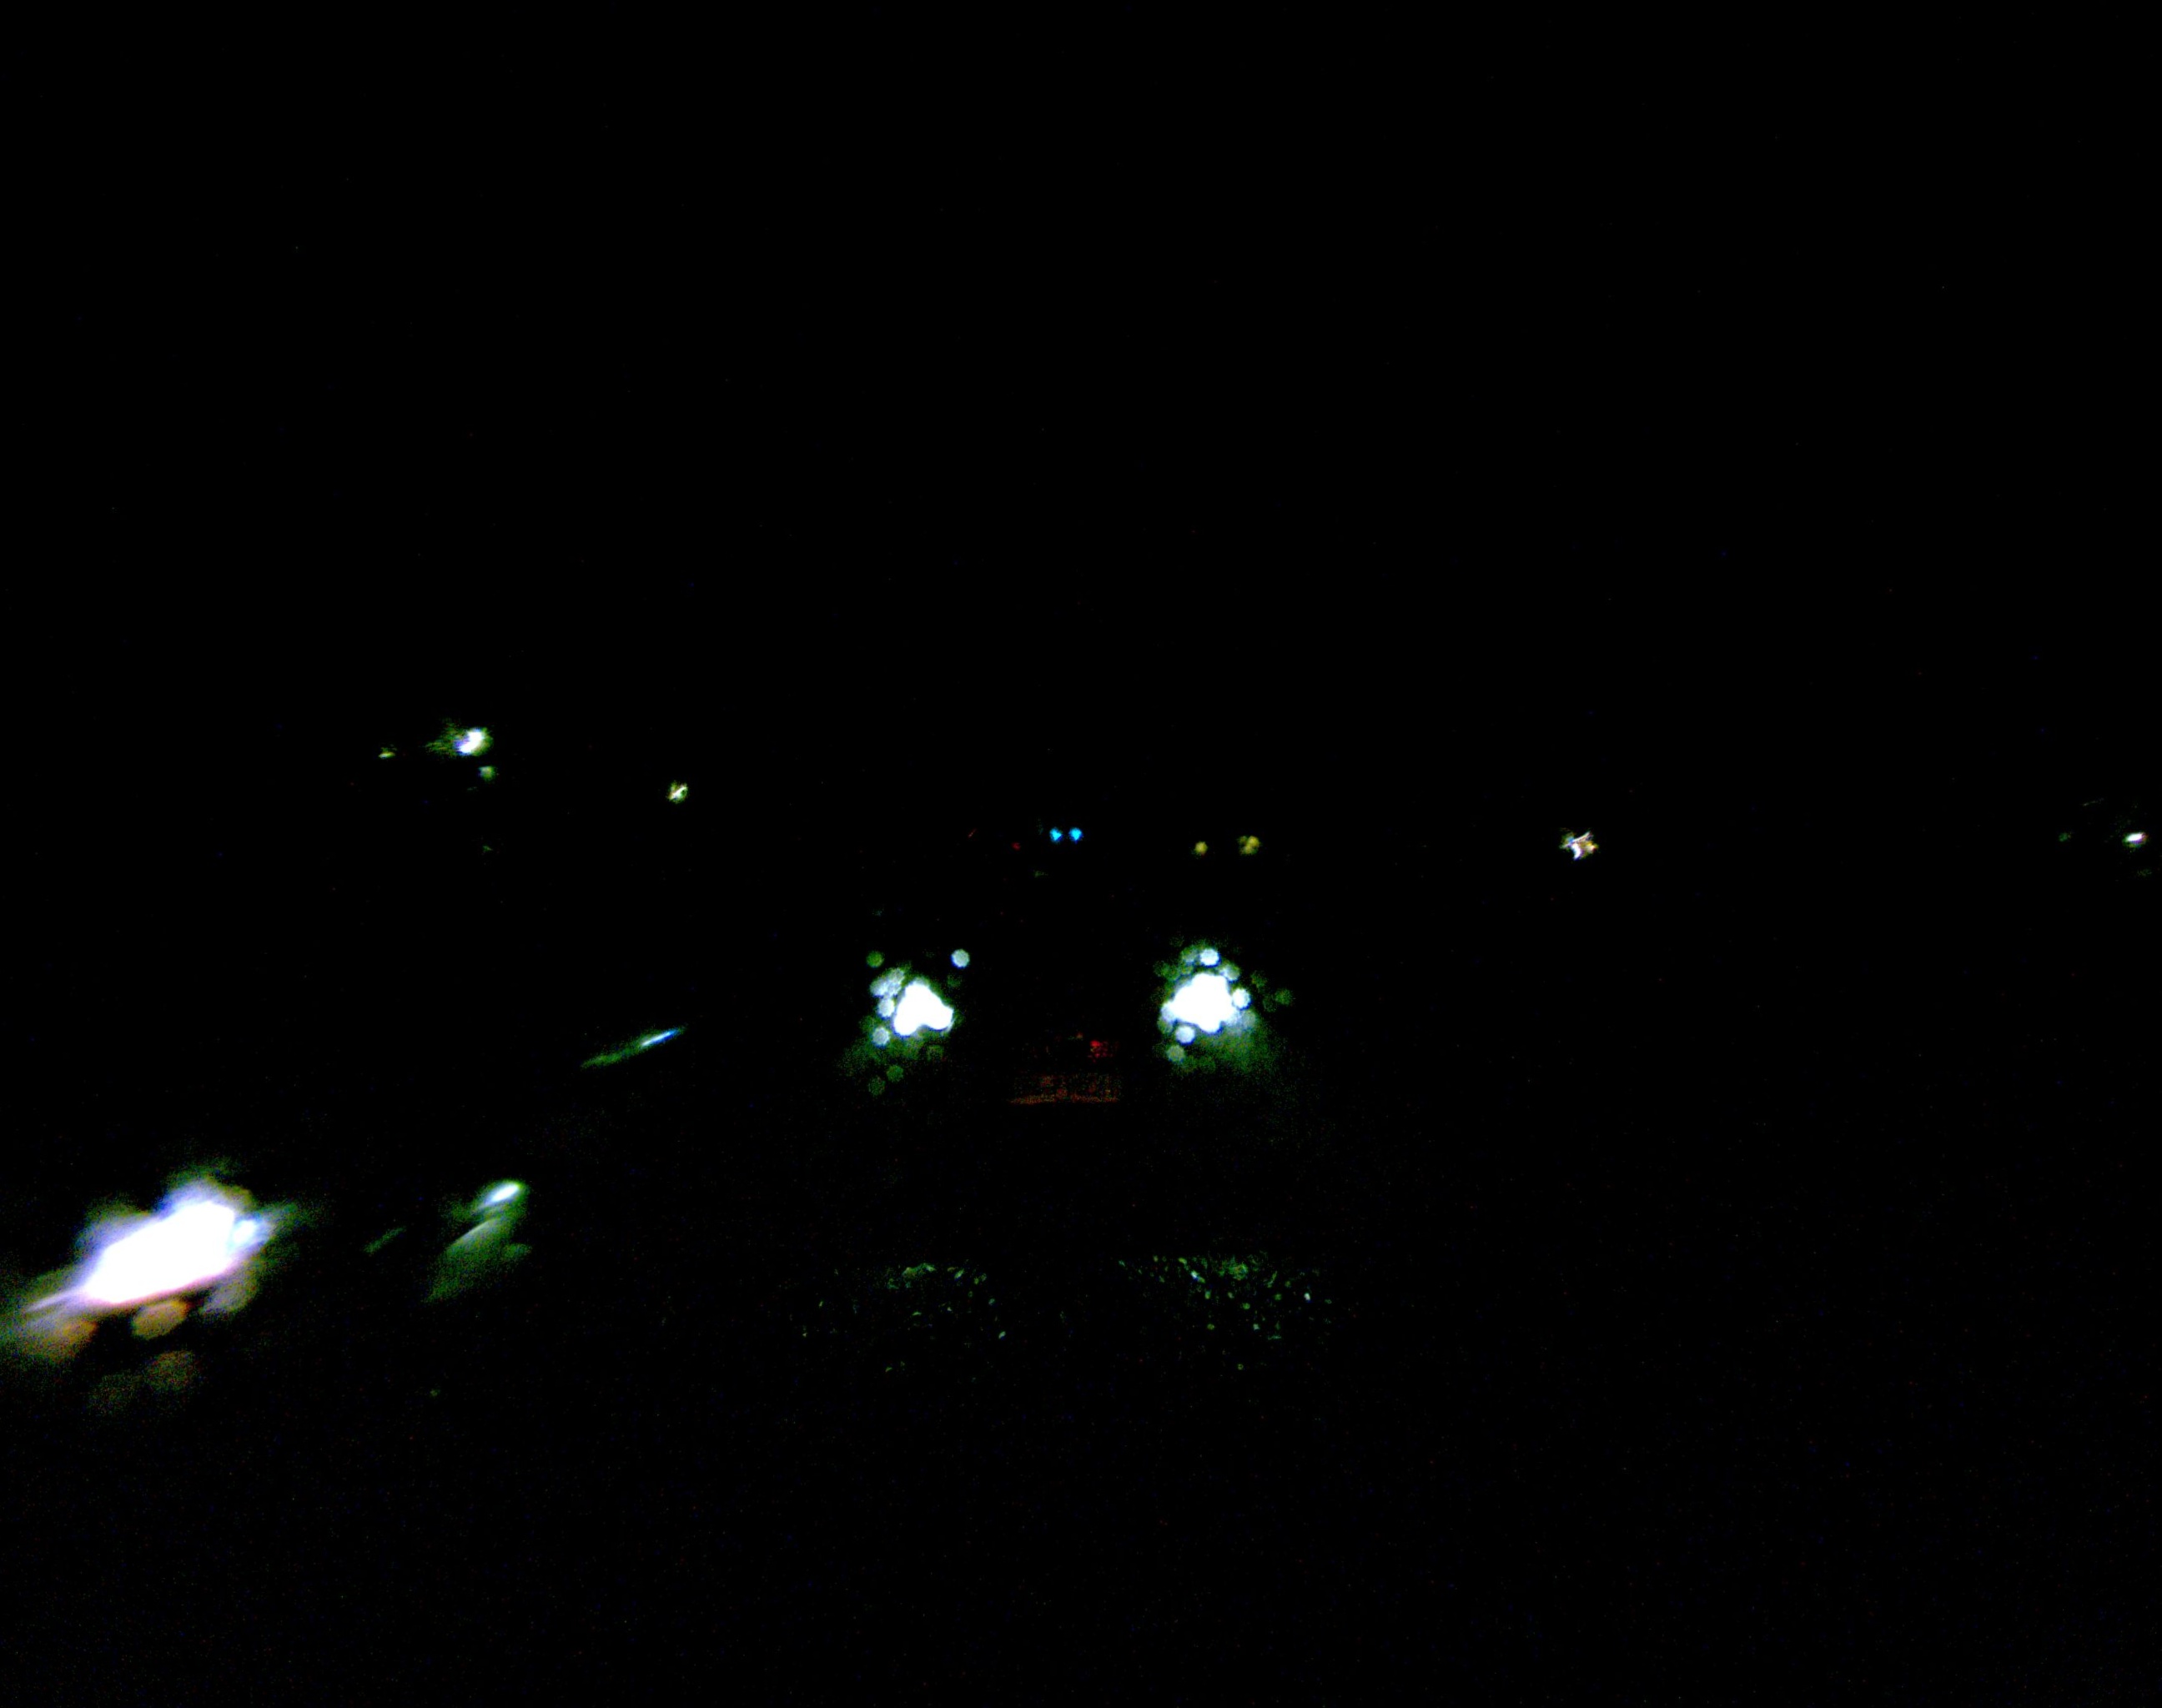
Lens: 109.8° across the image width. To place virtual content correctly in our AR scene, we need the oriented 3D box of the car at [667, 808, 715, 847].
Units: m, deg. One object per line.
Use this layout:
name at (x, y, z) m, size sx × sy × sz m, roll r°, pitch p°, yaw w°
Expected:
car at (-26.330, -1.756, 51.424) m, size 1.937 × 2.406 × 4.249 m, roll -3°, pitch 1°, yaw -16°

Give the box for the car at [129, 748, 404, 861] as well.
car at (-16.400, -0.914, 15.674) m, size 2.001 × 2.002 × 3.994 m, roll -3°, pitch 1°, yaw -16°

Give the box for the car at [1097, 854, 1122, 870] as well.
car at (2.992, 0.869, 80.375) m, size 1.893 × 1.559 × 4.484 m, roll -1°, pitch -1°, yaw -6°

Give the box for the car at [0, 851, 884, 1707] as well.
car at (-2.596, 0.909, 3.277) m, size 1.839 × 1.725 × 4.942 m, roll -2°, pitch 1°, yaw 4°

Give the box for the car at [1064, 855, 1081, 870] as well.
car at (-1.218, 1.190, 106.252) m, size 1.999 × 2.002 × 3.998 m, roll -2°, pitch 1°, yaw -4°

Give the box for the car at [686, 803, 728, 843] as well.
car at (-27.786, -2.242, 56.628) m, size 1.937 × 2.759 × 4.249 m, roll -3°, pitch 1°, yaw -16°

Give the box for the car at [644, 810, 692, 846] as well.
car at (-25.014, -1.545, 46.131) m, size 1.735 × 2.002 × 3.696 m, roll -3°, pitch 1°, yaw -16°

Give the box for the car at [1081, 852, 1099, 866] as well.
car at (1.317, 0.724, 111.080) m, size 2.091 × 2.002 × 4.710 m, roll -2°, pitch 1°, yaw -6°

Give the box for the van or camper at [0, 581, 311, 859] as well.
van or camper at (-12.776, -1.369, 9.164) m, size 2.417 × 2.777 × 5.763 m, roll -3°, pitch 1°, yaw -18°

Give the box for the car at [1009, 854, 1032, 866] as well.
car at (-10.690, 1.025, 134.124) m, size 3.989 × 2.002 × 2.004 m, roll -2°, pitch 1°, yaw 45°

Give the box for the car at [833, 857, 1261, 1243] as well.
car at (-0.118, 0.878, 5.525) m, size 1.826 × 1.573 × 4.354 m, roll -2°, pitch 1°, yaw 1°

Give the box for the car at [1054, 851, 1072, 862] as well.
car at (-2.874, 0.341, 120.887) m, size 2.000 × 1.687 × 3.995 m, roll -3°, pitch 1°, yaw -12°
